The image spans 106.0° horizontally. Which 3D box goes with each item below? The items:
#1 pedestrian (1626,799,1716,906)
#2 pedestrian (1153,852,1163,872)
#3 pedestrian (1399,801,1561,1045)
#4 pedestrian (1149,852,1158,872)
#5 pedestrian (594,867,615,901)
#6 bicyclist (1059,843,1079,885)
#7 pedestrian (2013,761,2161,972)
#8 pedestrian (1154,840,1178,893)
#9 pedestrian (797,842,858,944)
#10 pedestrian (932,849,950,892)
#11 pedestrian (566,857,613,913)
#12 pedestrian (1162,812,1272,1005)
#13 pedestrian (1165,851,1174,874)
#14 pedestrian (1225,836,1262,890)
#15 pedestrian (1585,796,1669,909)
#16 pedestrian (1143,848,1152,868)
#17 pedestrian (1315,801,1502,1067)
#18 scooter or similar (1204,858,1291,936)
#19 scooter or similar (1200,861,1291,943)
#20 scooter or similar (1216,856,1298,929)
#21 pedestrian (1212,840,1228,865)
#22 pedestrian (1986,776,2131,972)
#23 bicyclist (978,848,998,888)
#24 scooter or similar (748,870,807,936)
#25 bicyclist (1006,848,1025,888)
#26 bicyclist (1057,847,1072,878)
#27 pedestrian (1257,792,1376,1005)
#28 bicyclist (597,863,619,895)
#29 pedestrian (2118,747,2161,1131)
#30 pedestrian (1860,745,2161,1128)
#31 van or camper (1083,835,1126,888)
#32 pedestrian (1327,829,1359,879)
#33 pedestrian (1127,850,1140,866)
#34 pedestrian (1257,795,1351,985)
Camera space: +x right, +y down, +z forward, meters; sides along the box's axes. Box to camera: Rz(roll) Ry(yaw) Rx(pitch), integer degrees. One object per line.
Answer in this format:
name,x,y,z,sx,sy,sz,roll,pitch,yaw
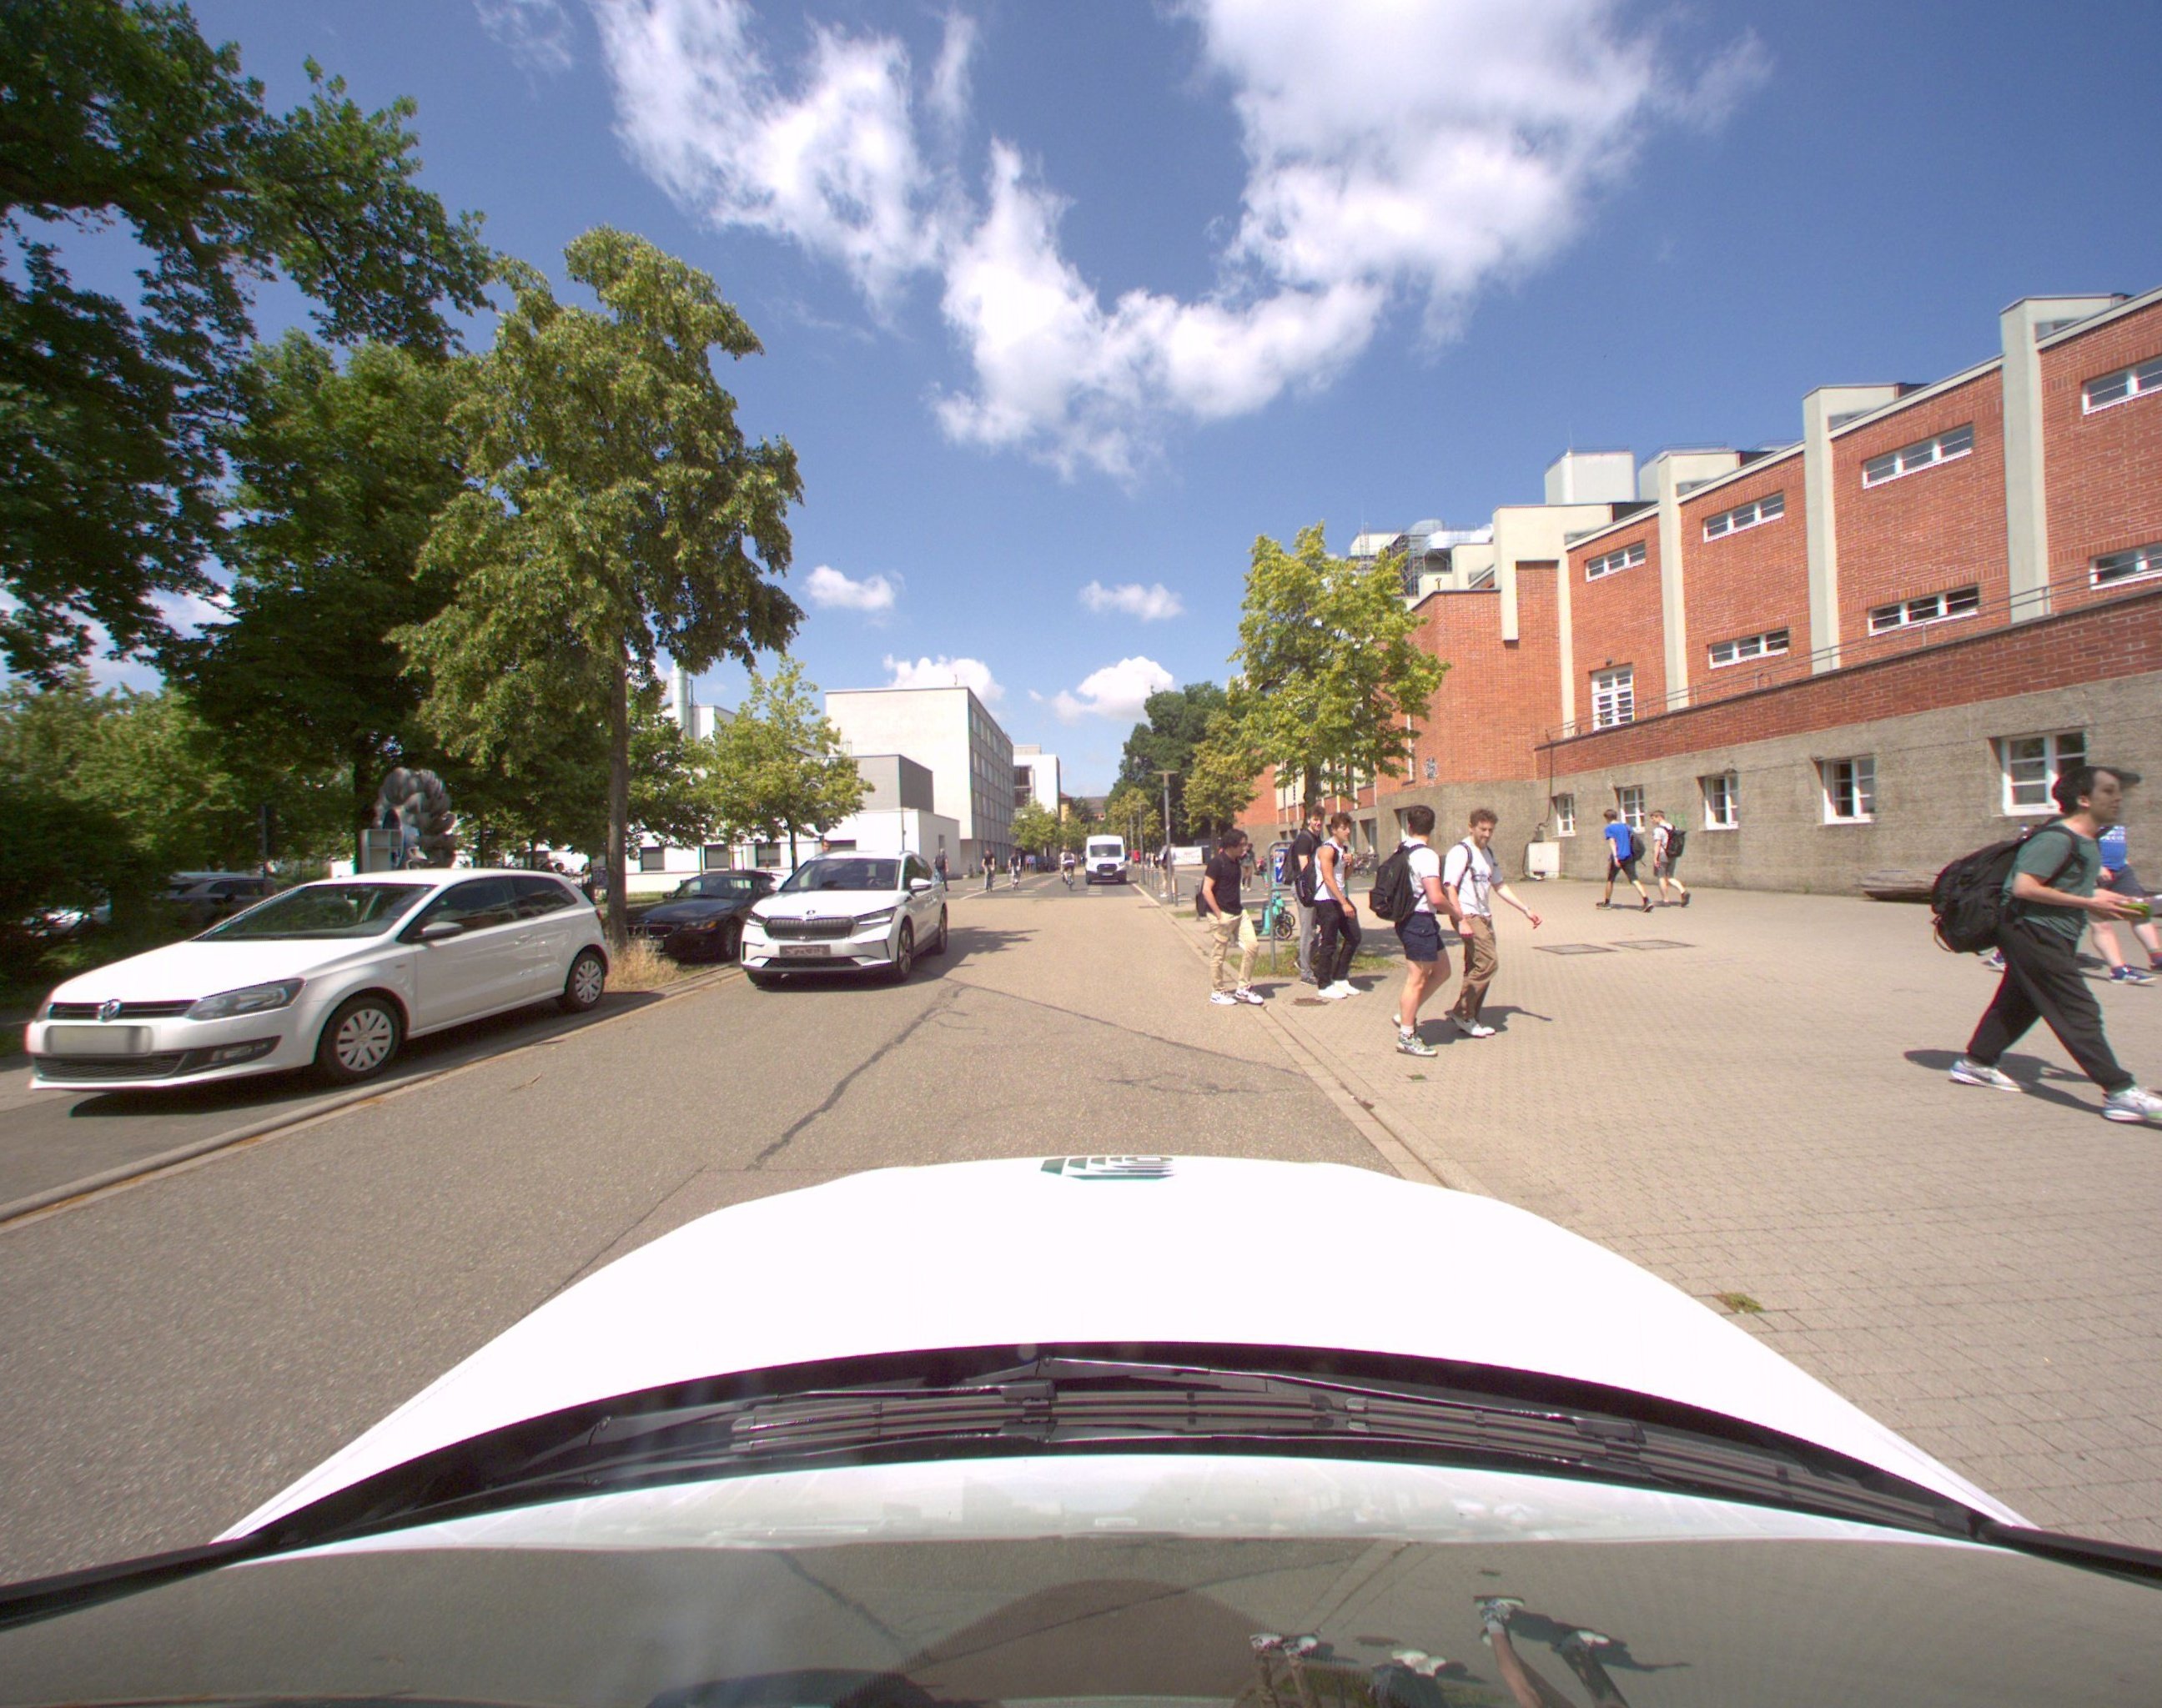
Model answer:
pedestrian,10.564,-0.034,14.613,0.701,1.803,0.991,-5,0,-7
pedestrian,7.257,0.729,76.673,0.787,1.860,1.026,-3,0,2
pedestrian,3.098,0.498,6.330,0.897,1.739,0.683,-4,0,40
pedestrian,7.121,0.781,80.117,0.787,1.860,1.026,-3,0,2
pedestrian,-24.978,1.579,42.722,0.690,1.749,0.636,-2,-1,1
bicyclist,-0.490,0.434,33.804,0.715,1.662,1.094,-3,-2,-1
pedestrian,9.255,0.106,7.370,0.708,1.788,0.750,-2,-1,-10
pedestrian,2.795,0.402,26.889,0.700,1.694,0.962,-1,2,2
pedestrian,-5.005,0.739,16.025,1.019,1.903,1.169,-1,-1,-23
pedestrian,-5.894,0.694,34.208,0.667,1.785,0.981,-1,-1,-12
pedestrian,-15.541,0.977,25.775,0.843,1.708,0.859,-2,1,24
pedestrian,1.359,0.509,8.041,0.794,1.772,0.859,-3,0,24
pedestrian,7.357,0.725,67.765,0.574,1.860,0.569,-3,0,-1
pedestrian,5.508,0.298,27.638,0.852,1.732,1.158,-3,0,-6
pedestrian,9.633,-0.029,14.394,0.700,1.892,0.992,-3,0,-6
pedestrian,6.266,0.389,76.890,0.787,1.860,1.244,-3,0,2
pedestrian,2.367,0.537,5.909,0.971,1.739,0.705,-4,-1,42
scooter or similar,2.864,0.728,14.026,1.248,1.265,0.655,-3,0,33
scooter or similar,2.675,0.770,13.255,1.248,1.265,0.655,-3,0,33
scooter or similar,3.206,0.693,14.835,1.248,1.265,0.644,-3,0,33
pedestrian,10.951,-0.120,64.180,0.843,1.860,1.123,-3,0,30
pedestrian,8.562,0.172,7.152,0.501,1.631,0.569,-2,-1,-10
bicyclist,-3.844,0.576,33.781,0.641,1.601,0.908,-3,0,-1
scooter or similar,-6.465,1.032,17.390,0.501,1.299,1.220,-3,0,13
bicyclist,-2.861,0.613,35.753,0.665,1.681,0.993,-3,-1,1
bicyclist,-0.930,0.470,46.097,0.768,1.756,0.848,1,-1,0
pedestrian,2.323,0.420,8.089,0.620,1.980,0.821,-2,-2,-30
bicyclist,-25.943,1.359,44.694,0.687,1.756,0.812,-1,-1,4
pedestrian,5.343,0.358,3.366,1.101,1.716,0.711,-3,0,2
pedestrian,4.852,0.371,4.225,0.707,1.719,0.983,-4,0,-35
van or camper,1.245,0.393,41.494,1.985,2.446,4.572,-3,-1,3
pedestrian,10.109,0.017,31.451,0.787,1.860,1.116,-3,0,1
pedestrian,6.960,0.544,107.508,1.495,1.996,1.646,-5,0,-1
pedestrian,2.465,0.385,8.967,0.819,1.980,0.695,-3,0,22
